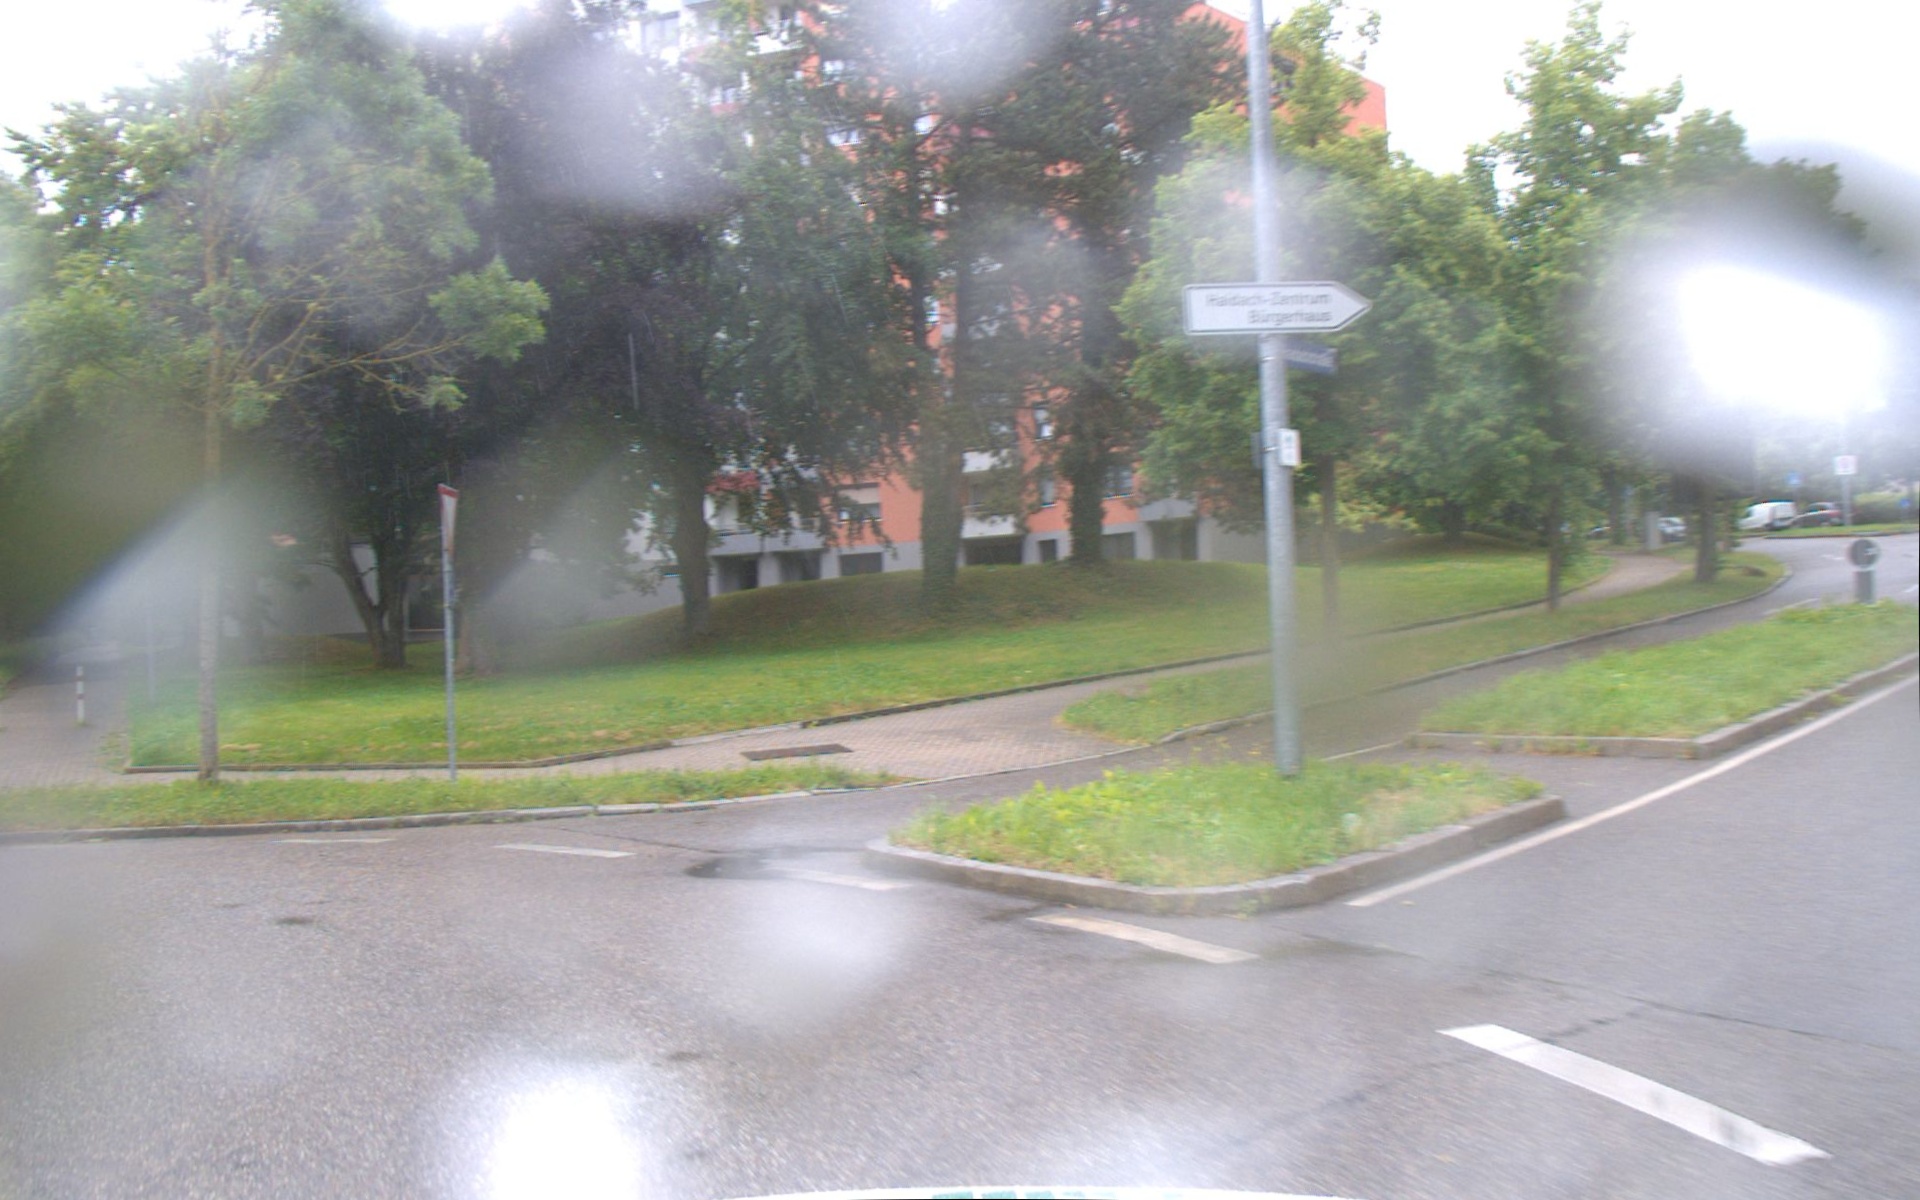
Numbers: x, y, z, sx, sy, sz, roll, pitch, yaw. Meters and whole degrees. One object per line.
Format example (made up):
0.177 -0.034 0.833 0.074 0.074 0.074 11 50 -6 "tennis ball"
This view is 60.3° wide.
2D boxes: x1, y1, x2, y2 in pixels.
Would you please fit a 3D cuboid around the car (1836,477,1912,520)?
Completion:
48.025 -5.304 86.965 1.808 1.906 3.862 -3 0 1 "car"

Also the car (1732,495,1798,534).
46.643 -4.928 95.922 1.952 1.906 4.001 -3 0 3 "car"
